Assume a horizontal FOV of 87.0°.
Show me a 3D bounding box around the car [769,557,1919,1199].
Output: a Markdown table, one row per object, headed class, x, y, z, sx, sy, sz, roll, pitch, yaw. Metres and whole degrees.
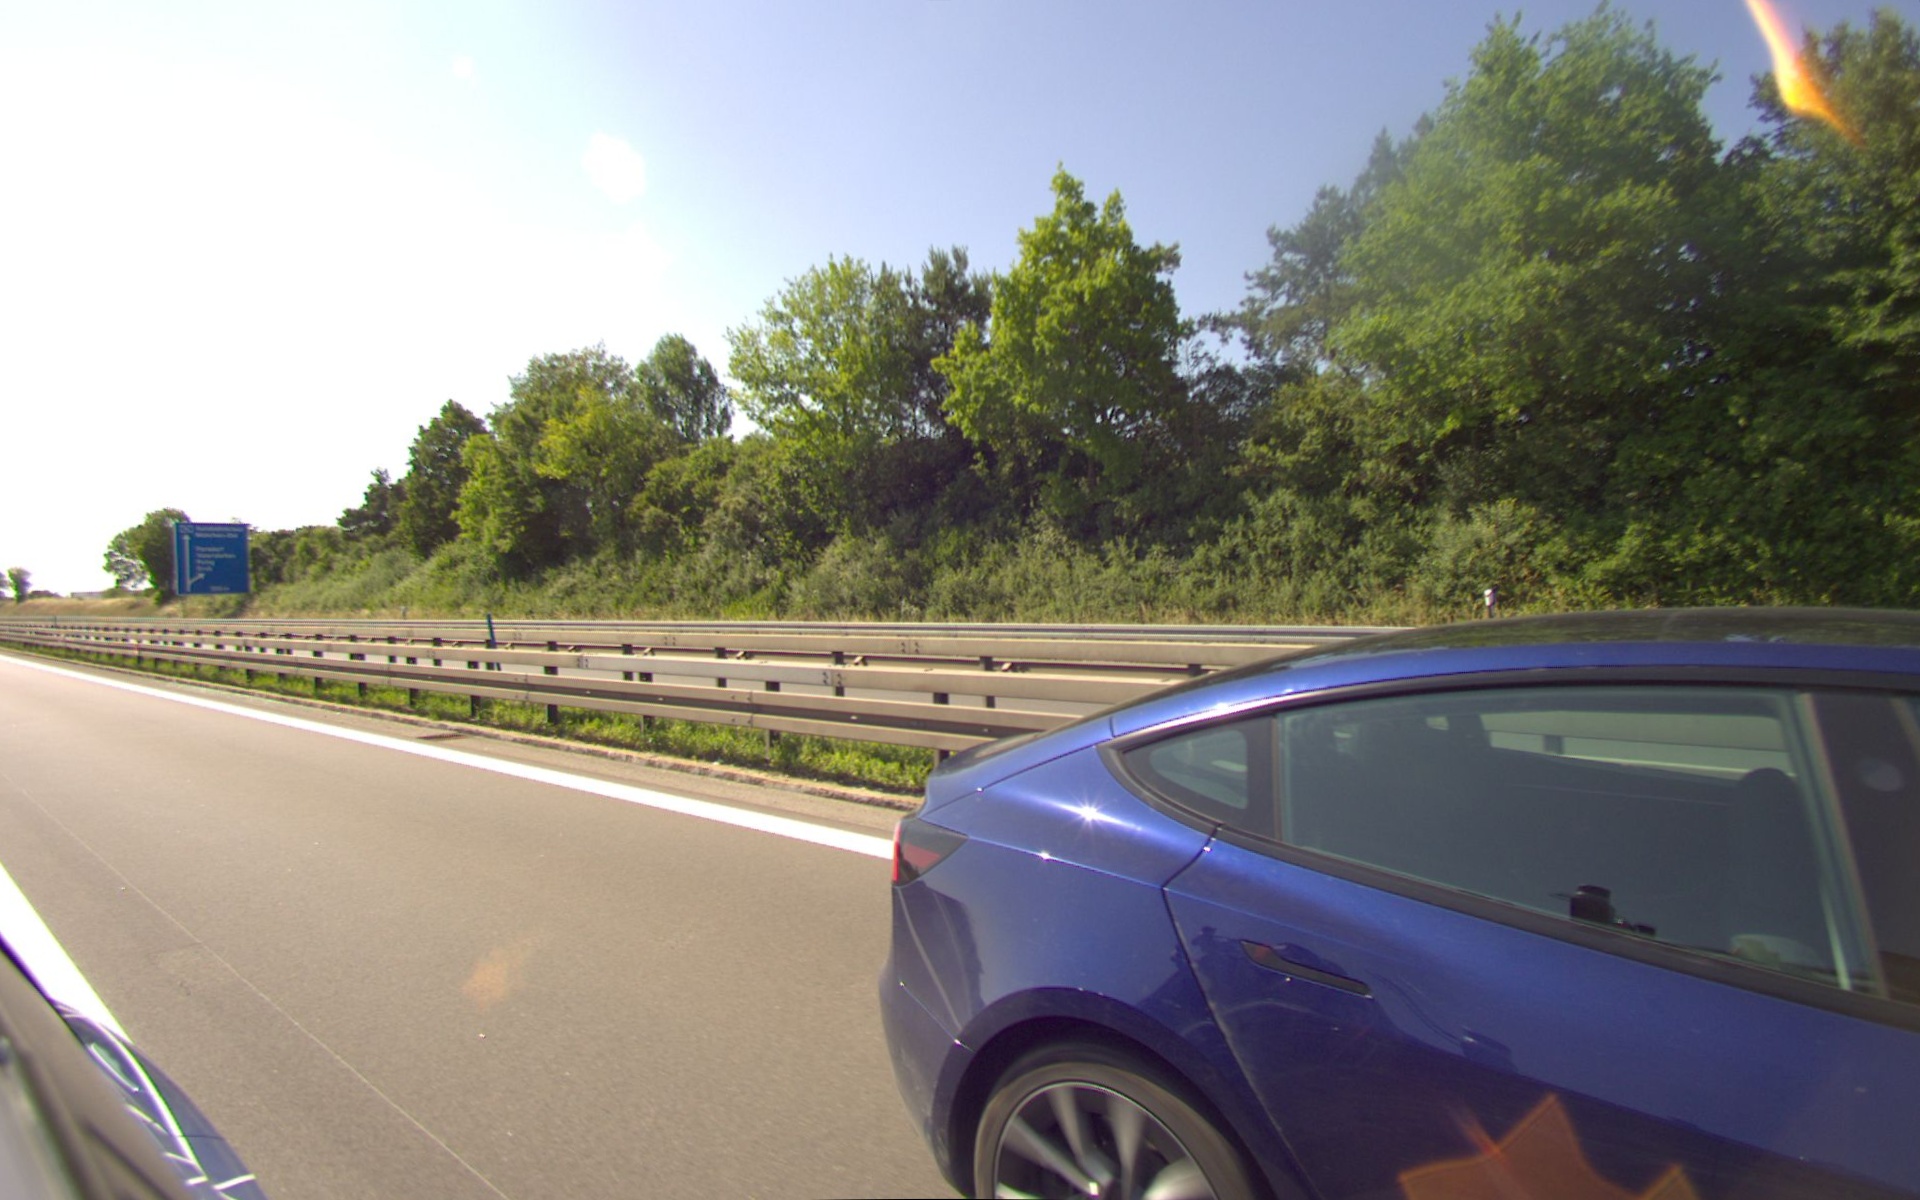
| class | x | y | z | sx | sy | sz | roll | pitch | yaw |
| --- | --- | --- | --- | --- | --- | --- | --- | --- | --- |
| car | 2.374 | 0.658 | 1.026 | 5.863 | 1.443 | 1.828 | -1 | 0 | 41 |
